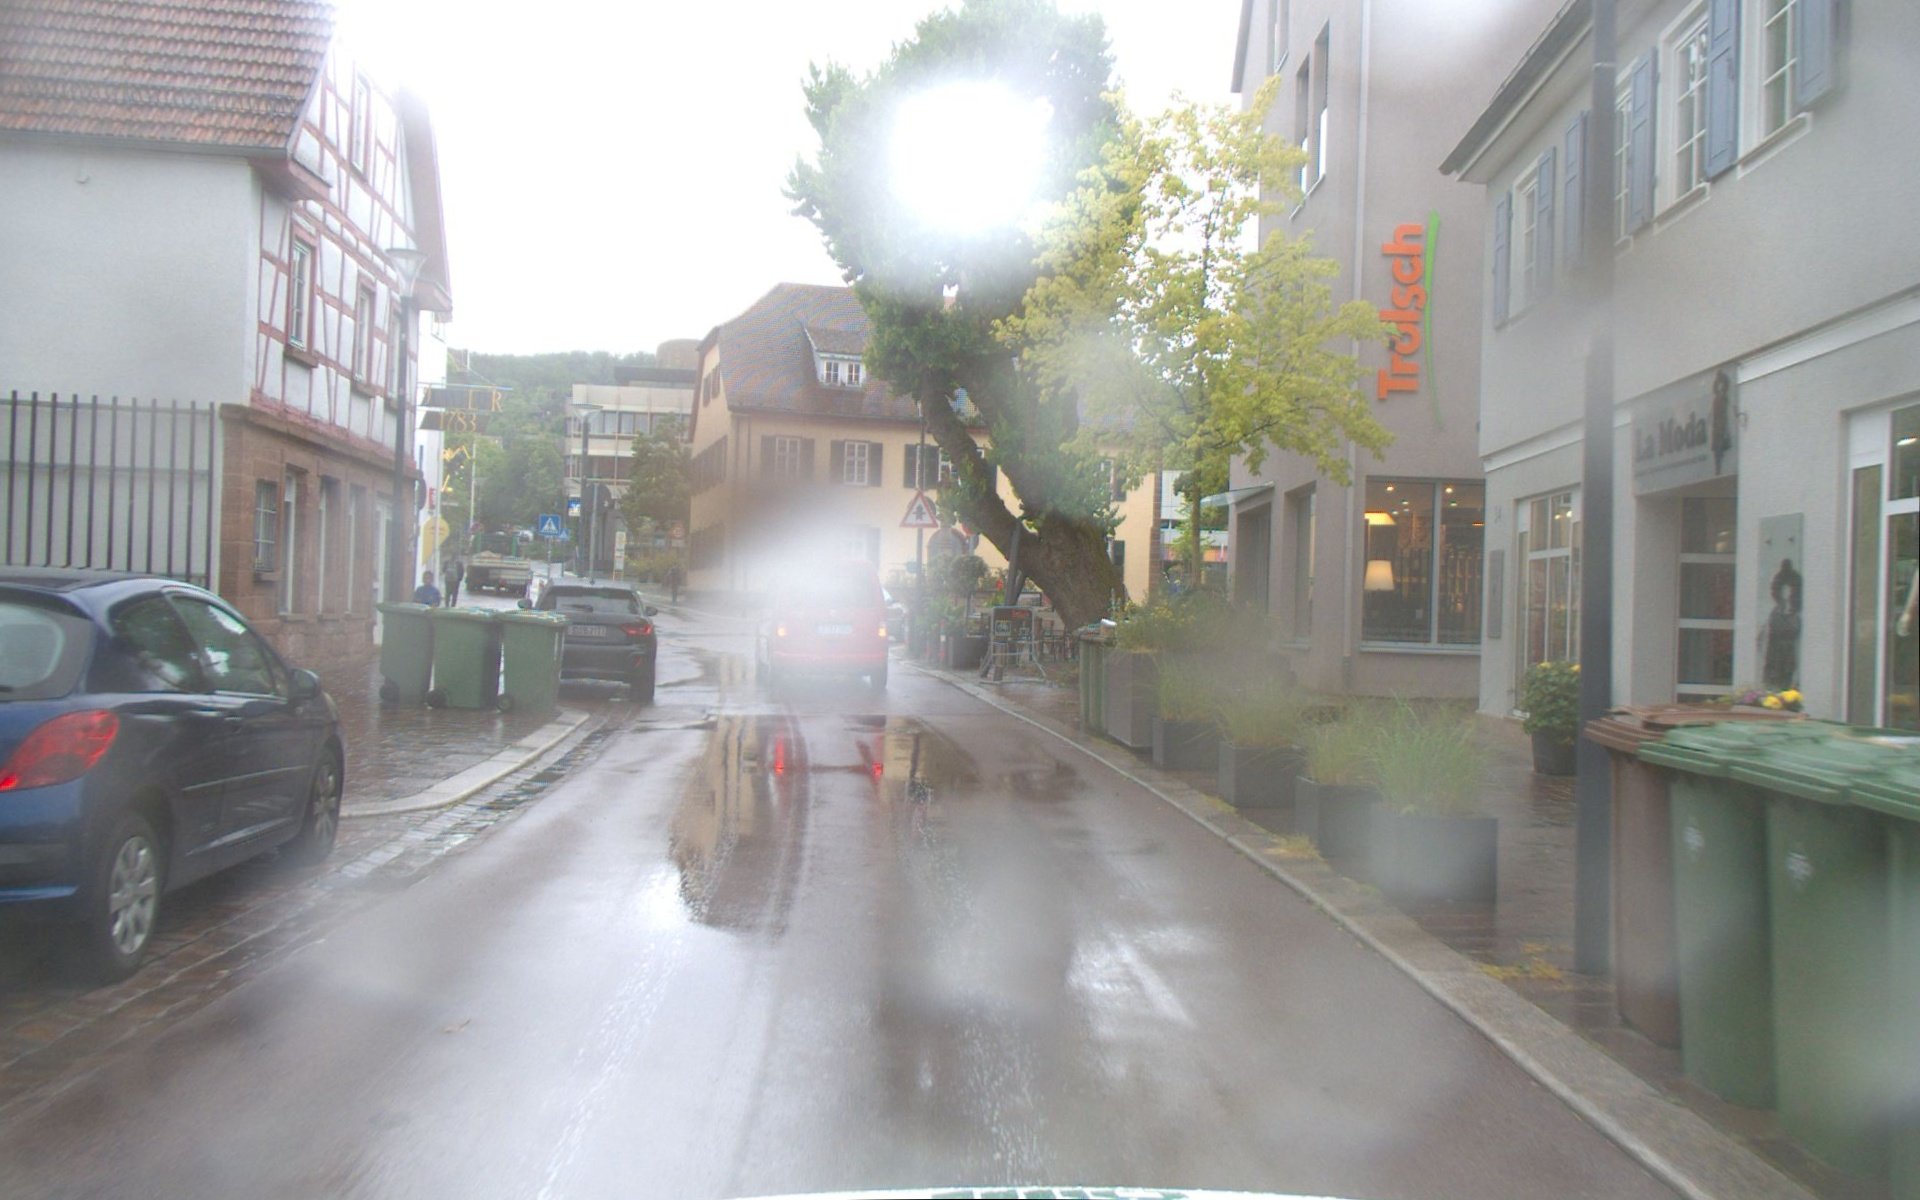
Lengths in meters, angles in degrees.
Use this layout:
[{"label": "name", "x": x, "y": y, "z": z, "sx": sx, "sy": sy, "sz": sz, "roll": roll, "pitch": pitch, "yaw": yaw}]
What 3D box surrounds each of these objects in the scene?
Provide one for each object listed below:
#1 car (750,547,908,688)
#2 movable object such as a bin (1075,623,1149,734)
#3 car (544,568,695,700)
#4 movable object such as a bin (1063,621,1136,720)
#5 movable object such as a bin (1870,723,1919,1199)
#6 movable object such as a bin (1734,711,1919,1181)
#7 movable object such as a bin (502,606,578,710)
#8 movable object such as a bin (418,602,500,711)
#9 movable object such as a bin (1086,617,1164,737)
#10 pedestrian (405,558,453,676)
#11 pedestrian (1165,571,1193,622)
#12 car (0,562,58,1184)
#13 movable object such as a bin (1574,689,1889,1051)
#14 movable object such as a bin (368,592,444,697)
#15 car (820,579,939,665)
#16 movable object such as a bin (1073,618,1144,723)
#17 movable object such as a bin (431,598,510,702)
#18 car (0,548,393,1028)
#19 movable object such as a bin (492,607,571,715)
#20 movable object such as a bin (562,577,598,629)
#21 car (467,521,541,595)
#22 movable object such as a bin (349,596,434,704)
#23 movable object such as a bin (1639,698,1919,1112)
[{"label": "car", "x": -2.050, "y": 0.190, "z": 24.792, "sx": 1.860, "sy": 1.842, "sz": 3.991, "roll": 3, "pitch": 1, "yaw": -11}, {"label": "movable object such as a bin", "x": 1.602, "y": 0.820, "z": 17.440, "sx": 0.619, "sy": 1.123, "sz": 0.578, "roll": 3, "pitch": -1, "yaw": -8}, {"label": "car", "x": -4.643, "y": 0.390, "z": 22.366, "sx": 1.757, "sy": 1.521, "sz": 3.987, "roll": 3, "pitch": 1, "yaw": -13}, {"label": "movable object such as a bin", "x": 1.598, "y": 0.805, "z": 19.080, "sx": 0.707, "sy": 1.092, "sz": 0.648, "roll": 3, "pitch": -1, "yaw": -4}, {"label": "movable object such as a bin", "x": 2.601, "y": 0.870, "z": 3.792, "sx": 0.714, "sy": 1.110, "sz": 0.521, "roll": 3, "pitch": -1, "yaw": 1}, {"label": "movable object such as a bin", "x": 2.567, "y": 0.882, "z": 4.377, "sx": 0.720, "sy": 1.117, "sz": 0.611, "roll": 2, "pitch": -1, "yaw": 0}, {"label": "movable object such as a bin", "x": -4.775, "y": 0.657, "z": 18.842, "sx": 0.712, "sy": 1.129, "sz": 0.644, "roll": 3, "pitch": -1, "yaw": -8}, {"label": "movable object such as a bin", "x": -5.456, "y": 0.610, "z": 18.033, "sx": 0.712, "sy": 1.129, "sz": 0.595, "roll": 3, "pitch": -1, "yaw": -8}, {"label": "movable object such as a bin", "x": 1.676, "y": 0.774, "z": 16.854, "sx": 0.619, "sy": 1.170, "sz": 0.578, "roll": 3, "pitch": -1, "yaw": -8}, {"label": "pedestrian", "x": -8.068, "y": 0.256, "z": 25.132, "sx": 0.508, "sy": 1.741, "sz": 0.577, "roll": 3, "pitch": -1, "yaw": -7}, {"label": "pedestrian", "x": 8.199, "y": -0.131, "z": 61.979, "sx": 0.880, "sy": 1.874, "sz": 0.766, "roll": 3, "pitch": -1, "yaw": -2}, {"label": "car", "x": -3.094, "y": 0.646, "z": 2.117, "sx": 1.657, "sy": 1.468, "sz": 3.885, "roll": 3, "pitch": 1, "yaw": 1}, {"label": "movable object such as a bin", "x": 2.579, "y": 0.878, "z": 5.593, "sx": 0.738, "sy": 1.109, "sz": 0.656, "roll": 1, "pitch": 0, "yaw": -3}, {"label": "movable object such as a bin", "x": -6.221, "y": 0.496, "z": 18.601, "sx": 0.647, "sy": 1.129, "sz": 0.614, "roll": 3, "pitch": -1, "yaw": -8}, {"label": "car", "x": -1.814, "y": 0.536, "z": 38.774, "sx": 1.951, "sy": 1.831, "sz": 4.003, "roll": 3, "pitch": -1, "yaw": 9}, {"label": "movable object such as a bin", "x": 1.647, "y": 0.783, "z": 18.449, "sx": 0.664, "sy": 1.122, "sz": 0.579, "roll": 3, "pitch": -1, "yaw": -4}, {"label": "movable object such as a bin", "x": -5.521, "y": 0.561, "z": 18.678, "sx": 0.712, "sy": 1.129, "sz": 0.595, "roll": 3, "pitch": -1, "yaw": -8}, {"label": "car", "x": -3.857, "y": 0.565, "z": 7.277, "sx": 1.723, "sy": 1.499, "sz": 3.938, "roll": 3, "pitch": 1, "yaw": -7}, {"label": "movable object such as a bin", "x": -4.707, "y": 0.663, "z": 18.191, "sx": 0.712, "sy": 1.129, "sz": 0.595, "roll": 3, "pitch": -1, "yaw": -8}, {"label": "movable object such as a bin", "x": -8.634, "y": 0.074, "z": 37.579, "sx": 0.701, "sy": 1.125, "sz": 0.598, "roll": 3, "pitch": -1, "yaw": -10}, {"label": "car", "x": -18.314, "y": -1.595, "z": 66.204, "sx": 2.265, "sy": 2.647, "sz": 6.918, "roll": 3, "pitch": -1, "yaw": -19}, {"label": "movable object such as a bin", "x": -6.170, "y": 0.538, "z": 17.976, "sx": 0.712, "sy": 1.129, "sz": 0.595, "roll": 3, "pitch": -1, "yaw": -8}, {"label": "movable object such as a bin", "x": 2.544, "y": 0.883, "z": 4.974, "sx": 0.720, "sy": 1.117, "sz": 0.611, "roll": 2, "pitch": -1, "yaw": 0}]
